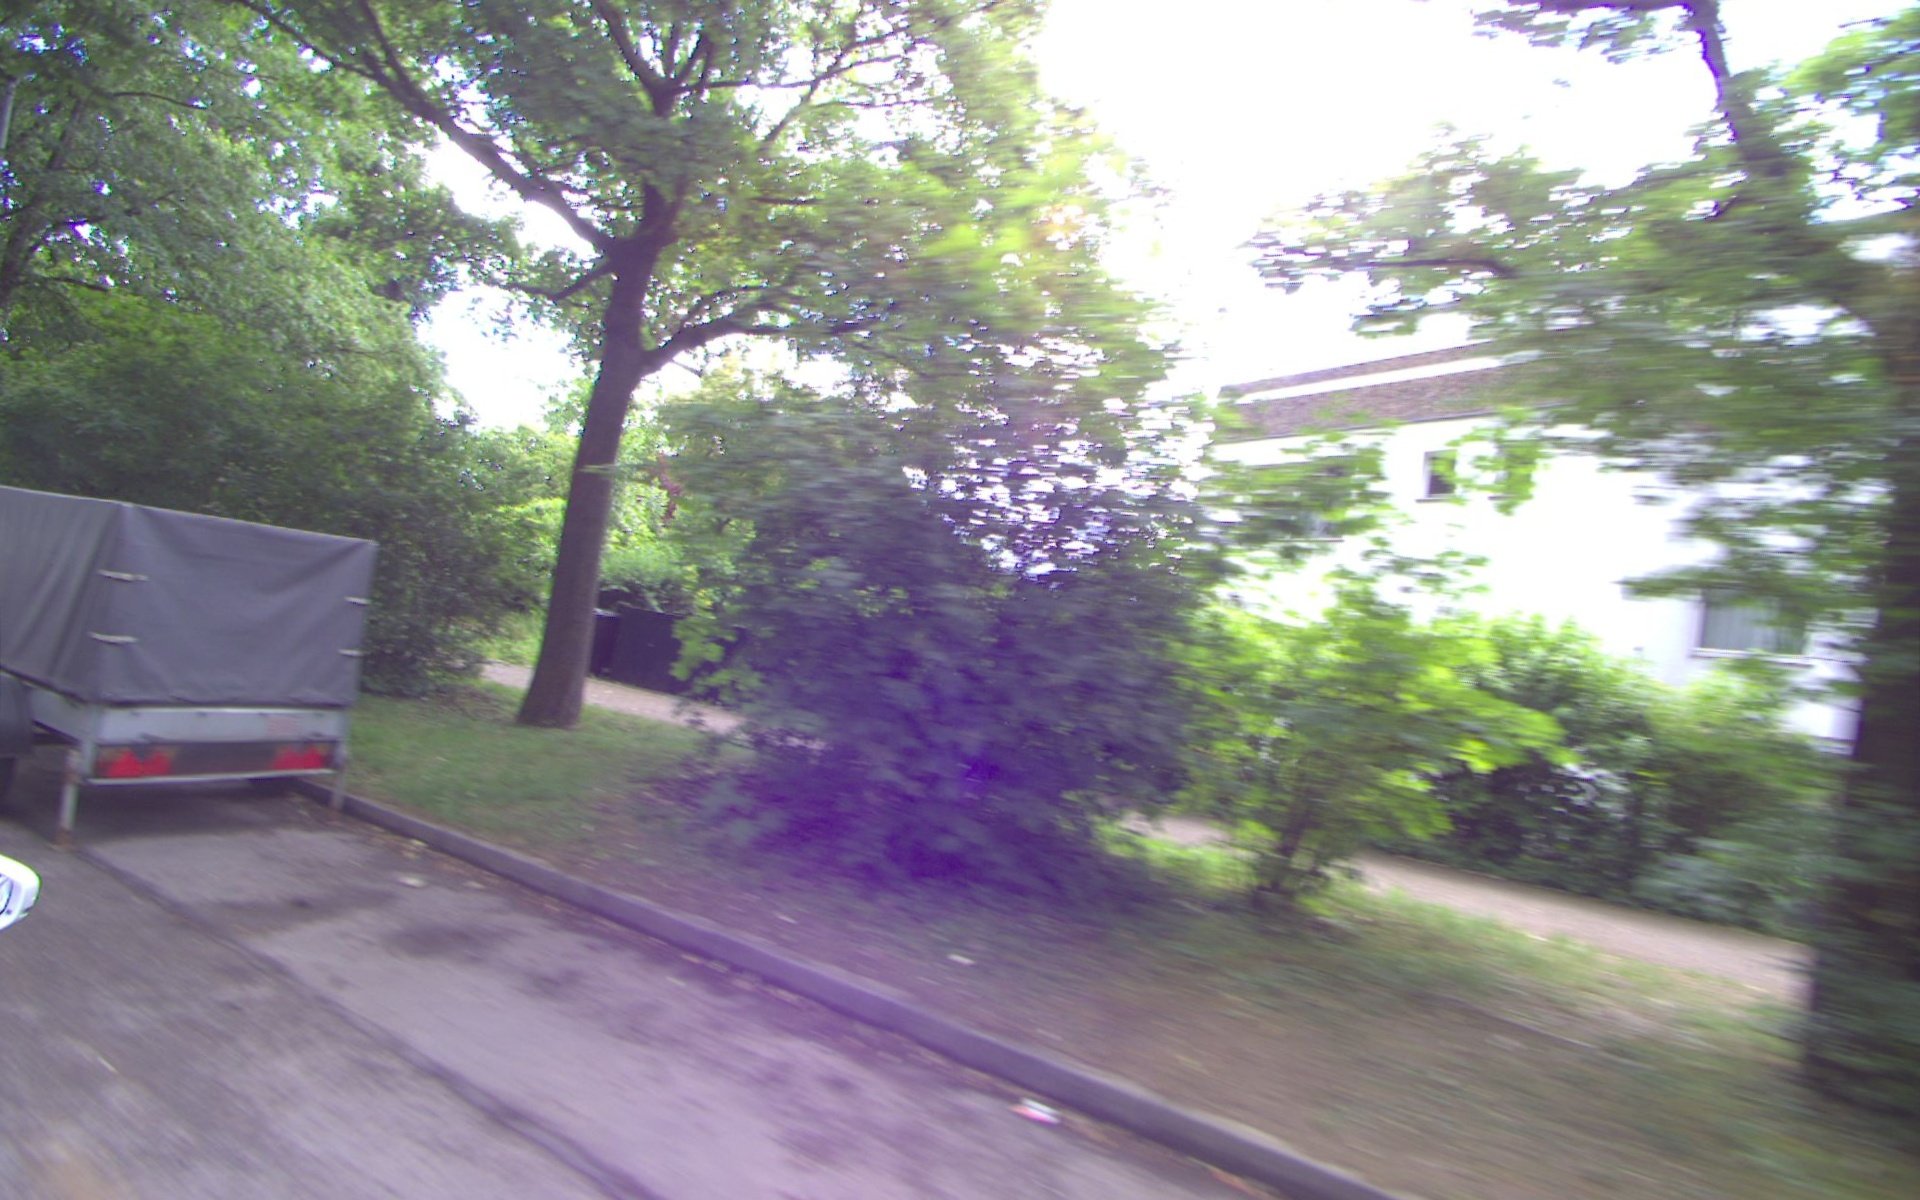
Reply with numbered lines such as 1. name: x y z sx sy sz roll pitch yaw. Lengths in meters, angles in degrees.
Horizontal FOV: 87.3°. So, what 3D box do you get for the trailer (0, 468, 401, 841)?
1. trailer: -4.538 0.213 5.594 2.419 1.603 1.282 7 -2 31
